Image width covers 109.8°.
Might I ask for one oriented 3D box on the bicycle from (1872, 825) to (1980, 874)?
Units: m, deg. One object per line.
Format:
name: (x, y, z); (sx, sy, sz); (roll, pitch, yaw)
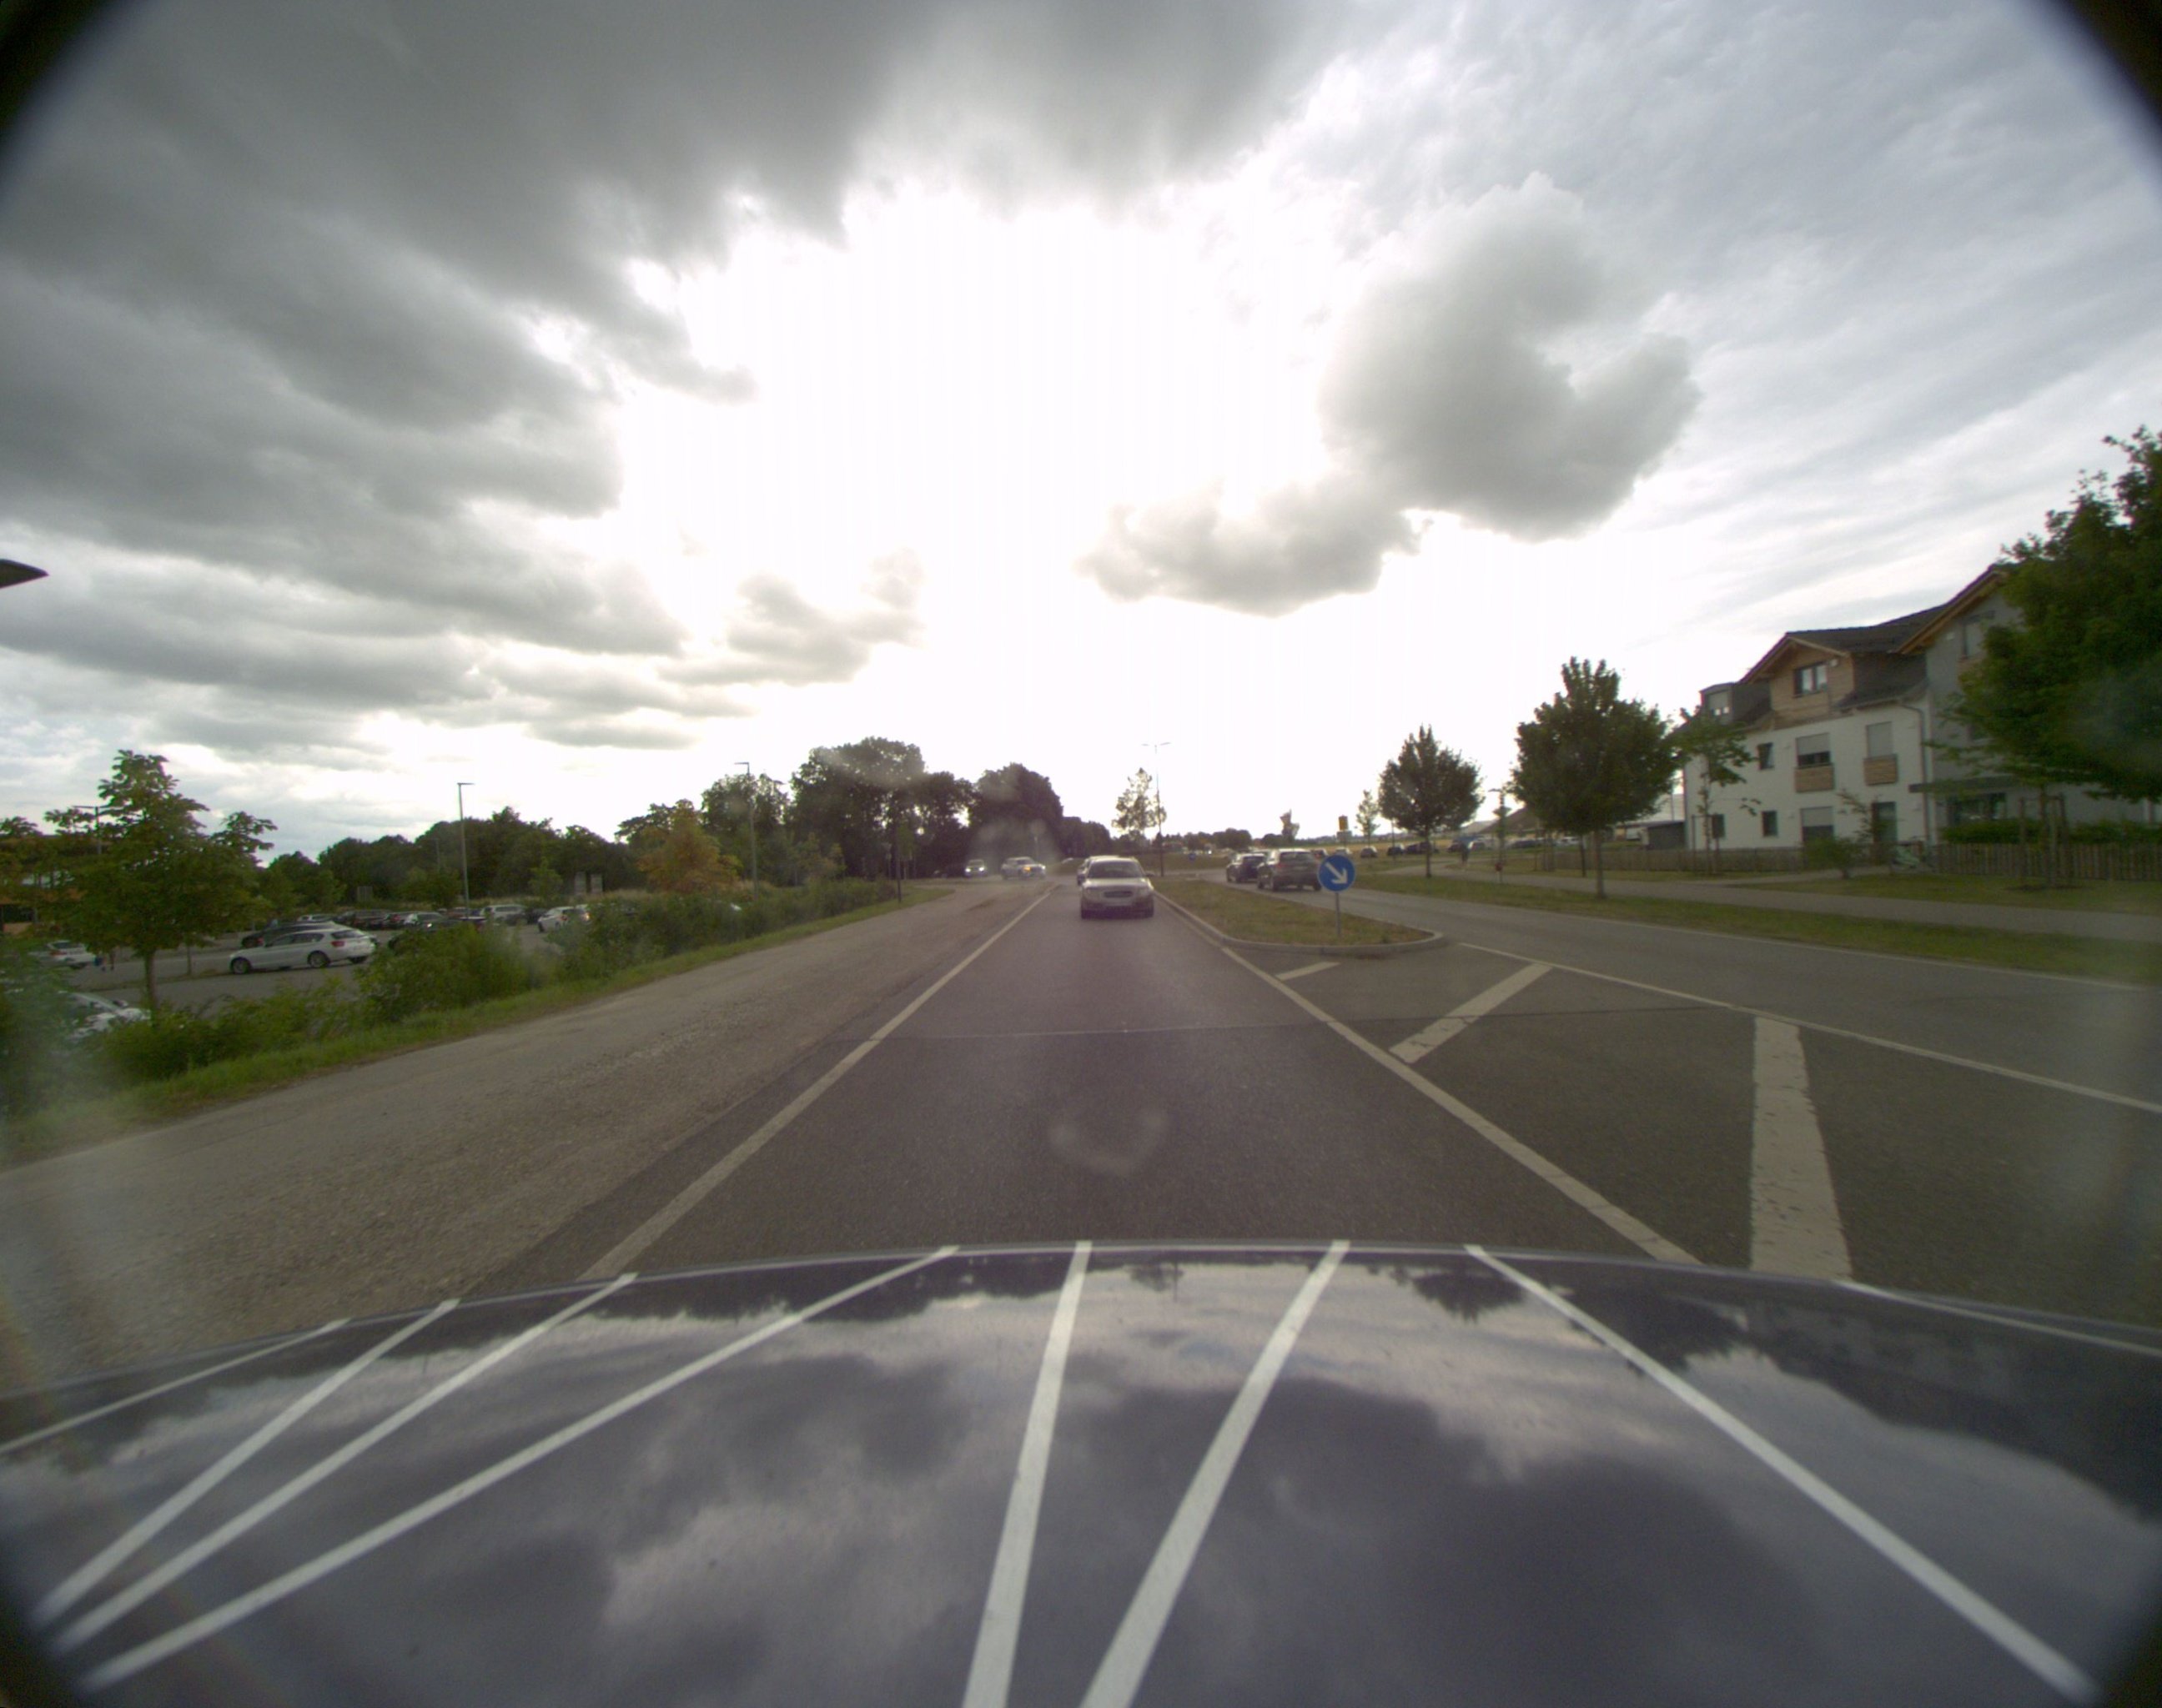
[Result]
bicycle: (25.723, -0.125, 23.196); (0.684, 1.404, 2.344); (-2, 0, 1)

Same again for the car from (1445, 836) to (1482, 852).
car: (50.982, -1.330, 101.189); (4.001, 2.002, 1.998); (-2, 0, -11)

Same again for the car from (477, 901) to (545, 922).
car: (-46.259, 4.631, 61.722); (1.697, 1.352, 4.007); (-2, 0, 28)

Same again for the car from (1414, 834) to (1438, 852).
car: (40.801, -1.302, 89.921); (1.996, 2.002, 4.005); (-2, 0, 16)

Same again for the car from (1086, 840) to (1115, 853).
car: (2.647, -1.042, 102.125); (1.995, 1.674, 4.008); (-2, 0, 33)

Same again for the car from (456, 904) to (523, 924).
car: (-49.110, 4.951, 63.158); (1.697, 1.352, 4.007); (-2, 0, 28)

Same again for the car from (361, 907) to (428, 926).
car: (-60.415, 5.485, 66.920); (1.697, 1.352, 4.007); (-2, 0, 28)

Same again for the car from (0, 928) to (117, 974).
car: (-48.086, 4.497, 35.378); (3.995, 1.837, 2.072); (-2, 0, 5)

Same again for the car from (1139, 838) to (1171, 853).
car: (8.976, -1.053, 92.267); (1.994, 1.674, 4.008); (-1, 0, 38)

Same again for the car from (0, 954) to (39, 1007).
car: (-35.532, 4.023, 23.502); (4.127, 1.543, 2.001); (-2, 0, 5)

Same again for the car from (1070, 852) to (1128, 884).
car: (0.915, 0.746, 41.503); (1.872, 1.533, 4.193); (-4, 1, -16)

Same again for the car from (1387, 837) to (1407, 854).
car: (38.043, -1.003, 91.497); (1.995, 2.002, 4.007); (-2, 0, 26)

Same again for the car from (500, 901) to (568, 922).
car: (-43.256, 4.524, 60.133); (1.697, 1.352, 4.007); (-2, 0, 28)

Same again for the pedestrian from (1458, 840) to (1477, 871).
pedestrian: (19.876, 0.070, 39.057); (0.547, 1.521, 0.586); (-4, 0, 1)

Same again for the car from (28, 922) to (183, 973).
car: (-41.317, 3.952, 32.236); (4.269, 1.860, 2.001); (-2, 0, 5)

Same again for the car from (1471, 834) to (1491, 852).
car: (47.319, -1.324, 89.794); (1.995, 2.002, 4.007); (-1, 0, 29)

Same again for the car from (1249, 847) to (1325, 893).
car: (7.792, 0.576, 29.122); (1.830, 1.573, 4.216); (-2, 0, 1)

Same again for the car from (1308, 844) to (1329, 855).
car: (30.001, -0.557, 95.863); (1.995, 1.280, 4.007); (-2, 0, 26)

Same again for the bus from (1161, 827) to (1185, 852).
bus: (12.596, -1.960, 104.913); (2.990, 3.261, 6.487); (-2, 0, 5)

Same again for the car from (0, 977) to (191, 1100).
car: (-17.070, 2.909, 12.072); (3.766, 1.529, 1.676); (-2, 0, -1)

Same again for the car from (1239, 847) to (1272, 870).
car: (12.082, 0.268, 52.806); (1.829, 1.480, 4.218); (-2, 0, 7)

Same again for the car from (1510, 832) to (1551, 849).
car: (55.320, -1.680, 93.597); (4.001, 2.002, 1.998); (-2, 0, -11)

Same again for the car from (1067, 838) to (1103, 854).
car: (0.461, -0.991, 91.150); (1.995, 1.794, 4.781); (-1, 0, 33)

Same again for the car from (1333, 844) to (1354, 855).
car: (32.639, -0.535, 94.349); (1.995, 1.280, 4.007); (-2, 0, 26)

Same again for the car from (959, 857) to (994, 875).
car: (-9.286, 1.070, 66.995); (2.002, 1.510, 3.763); (-2, 0, -25)

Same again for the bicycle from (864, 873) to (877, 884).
bicycle: (-20.088, 2.347, 72.635); (1.297, 0.956, 0.569); (-1, 0, 41)

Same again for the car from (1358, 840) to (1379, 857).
car: (35.312, -0.711, 93.358); (1.995, 2.002, 4.007); (-2, 0, 26)

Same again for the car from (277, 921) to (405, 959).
car: (-34.222, 3.965, 35.218); (4.127, 1.476, 2.001); (-2, 0, 5)

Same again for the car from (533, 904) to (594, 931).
car: (-31.456, 3.808, 46.141); (3.989, 1.352, 1.848); (-2, 0, 38)

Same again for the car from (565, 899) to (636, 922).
car: (-35.216, 4.102, 55.785); (1.697, 1.352, 4.007); (-2, 0, 28)

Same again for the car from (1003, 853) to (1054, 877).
car: (-3.923, 0.821, 56.085); (2.003, 1.674, 3.990); (-2, 0, -34)

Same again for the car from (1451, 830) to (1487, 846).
car: (53.676, -2.191, 105.050); (4.001, 2.002, 1.998); (-2, 0, -11)

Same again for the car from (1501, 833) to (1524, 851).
car: (49.675, -1.394, 87.581); (2.227, 2.002, 4.007); (-2, 0, 29)

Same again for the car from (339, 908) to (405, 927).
car: (-64.119, 5.707, 68.794); (1.697, 1.352, 4.007); (-2, 0, 28)

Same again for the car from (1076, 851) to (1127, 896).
car: (0.929, 0.735, 31.558); (1.869, 1.578, 5.063); (-3, 1, 3)

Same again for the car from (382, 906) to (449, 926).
car: (-57.734, 5.343, 65.994); (1.697, 1.352, 4.007); (-2, 0, 28)

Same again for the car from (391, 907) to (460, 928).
car: (-55.466, 5.350, 64.347); (1.697, 1.352, 4.007); (-2, 0, 28)

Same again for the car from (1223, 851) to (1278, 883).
car: (8.360, 0.617, 37.802); (1.830, 1.480, 4.350); (-2, 0, 1)

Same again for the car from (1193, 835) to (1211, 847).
car: (16.096, -1.724, 101.281); (1.774, 1.435, 4.000); (-2, 0, 1)

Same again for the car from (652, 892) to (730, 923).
car: (-25.128, 3.413, 49.091); (1.697, 1.707, 4.250); (-1, 0, 28)

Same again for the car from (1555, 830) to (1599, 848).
car: (57.255, -1.741, 87.769); (4.001, 2.002, 1.998); (-2, 0, -11)

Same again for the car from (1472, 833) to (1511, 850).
car: (52.822, -1.605, 97.719); (3.999, 2.002, 1.999); (-2, 0, -8)

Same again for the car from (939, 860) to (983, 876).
car: (-11.912, 1.363, 75.302); (4.004, 1.412, 1.713); (-2, 0, -21)

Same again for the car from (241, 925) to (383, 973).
car: (-29.329, 3.599, 29.063); (3.558, 1.524, 1.753); (-2, 0, 0)

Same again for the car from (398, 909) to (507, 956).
car: (-28.950, 3.589, 35.062); (3.390, 1.696, 1.802); (-5, 0, 0)

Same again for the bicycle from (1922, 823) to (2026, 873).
bicycle: (26.896, -0.178, 22.936); (0.684, 1.409, 2.094); (-2, 0, 1)

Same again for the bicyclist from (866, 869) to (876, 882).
bicyclist: (-20.054, 2.082, 72.596); (0.657, 1.236, 0.556); (-1, 1, 41)

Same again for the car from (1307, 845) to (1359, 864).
car: (21.632, 0.032, 65.262); (4.344, 1.480, 1.827); (-2, 0, -32)

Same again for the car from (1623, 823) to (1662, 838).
car: (81.915, -3.466, 110.891); (4.568, 2.002, 1.998); (-2, 0, -11)

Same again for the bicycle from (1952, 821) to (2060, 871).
bicycle: (27.703, -0.232, 22.823); (0.684, 1.420, 2.094); (-2, 0, 1)

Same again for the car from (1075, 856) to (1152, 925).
car: (0.870, 0.838, 19.367); (1.700, 1.458, 4.001); (-2, 1, 4)

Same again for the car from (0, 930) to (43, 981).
car: (-47.393, 4.386, 32.287); (3.995, 2.002, 2.072); (-2, 0, 5)
